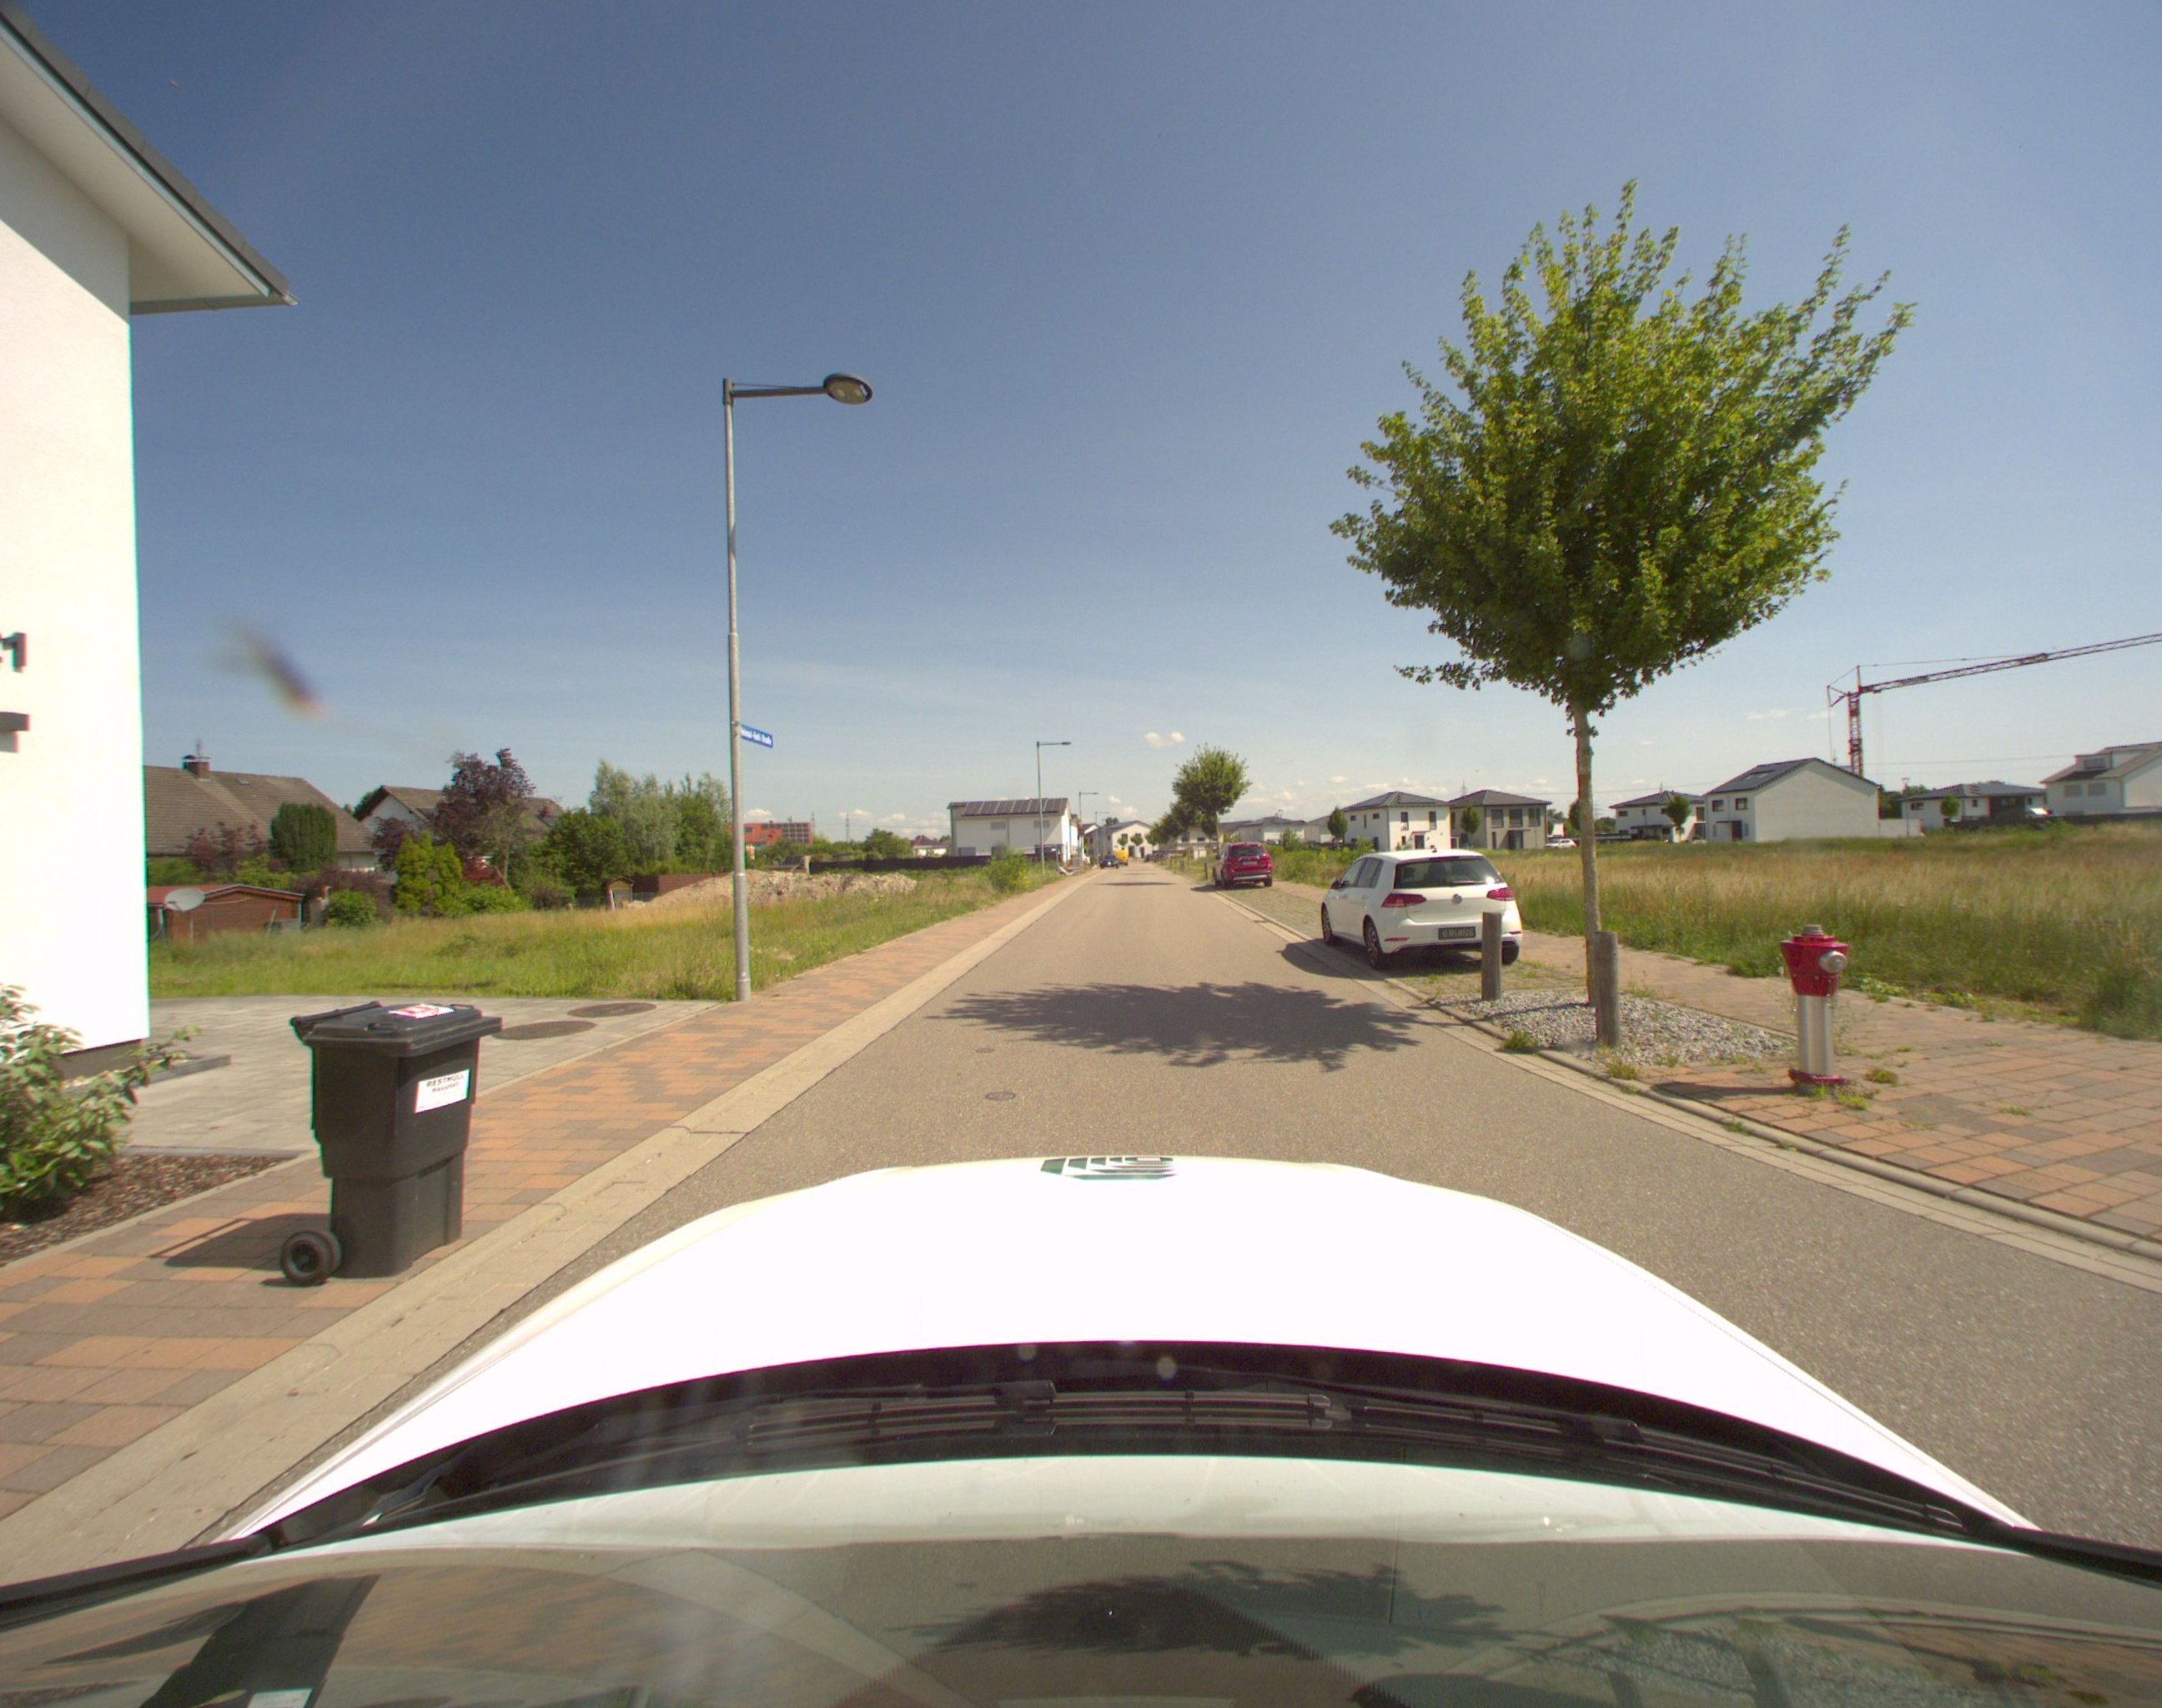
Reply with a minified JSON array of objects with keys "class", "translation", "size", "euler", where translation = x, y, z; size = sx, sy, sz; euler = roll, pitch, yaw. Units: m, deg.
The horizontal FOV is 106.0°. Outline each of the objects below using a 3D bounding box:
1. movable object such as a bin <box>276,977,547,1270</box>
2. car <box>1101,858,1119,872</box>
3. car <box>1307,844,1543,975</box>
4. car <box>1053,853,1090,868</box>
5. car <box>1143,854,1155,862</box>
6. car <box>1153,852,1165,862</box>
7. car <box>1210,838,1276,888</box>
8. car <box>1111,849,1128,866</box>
[{"class":"movable object such as a bin","translation":[-2.561,0.998,3.166],"size":[0.621,0.948,0.500],"euler":[-2,-1,-1]},{"class":"car","translation":[2.949,1.090,83.365],"size":[1.738,1.405,4.163],"euler":[0,0,3]},{"class":"car","translation":[4.577,0.635,11.563],"size":[1.767,1.420,4.170],"euler":[-4,0,4]},{"class":"car","translation":[-1.110,0.747,94.058],"size":[4.044,1.581,1.789],"euler":[-1,1,9]},{"class":"car","translation":[11.826,0.709,141.809],"size":[1.624,1.322,3.828],"euler":[-2,-2,-3]},{"class":"car","translation":[11.815,0.517,123.153],"size":[1.632,1.403,3.813],"euler":[-2,-2,3]},{"class":"car","translation":[6.099,0.298,31.060],"size":[1.769,1.663,4.437],"euler":[-3,0,3]},{"class":"car","translation":[4.887,0.497,103.404],"size":[1.935,1.981,4.216],"euler":[-2,-1,0]}]
